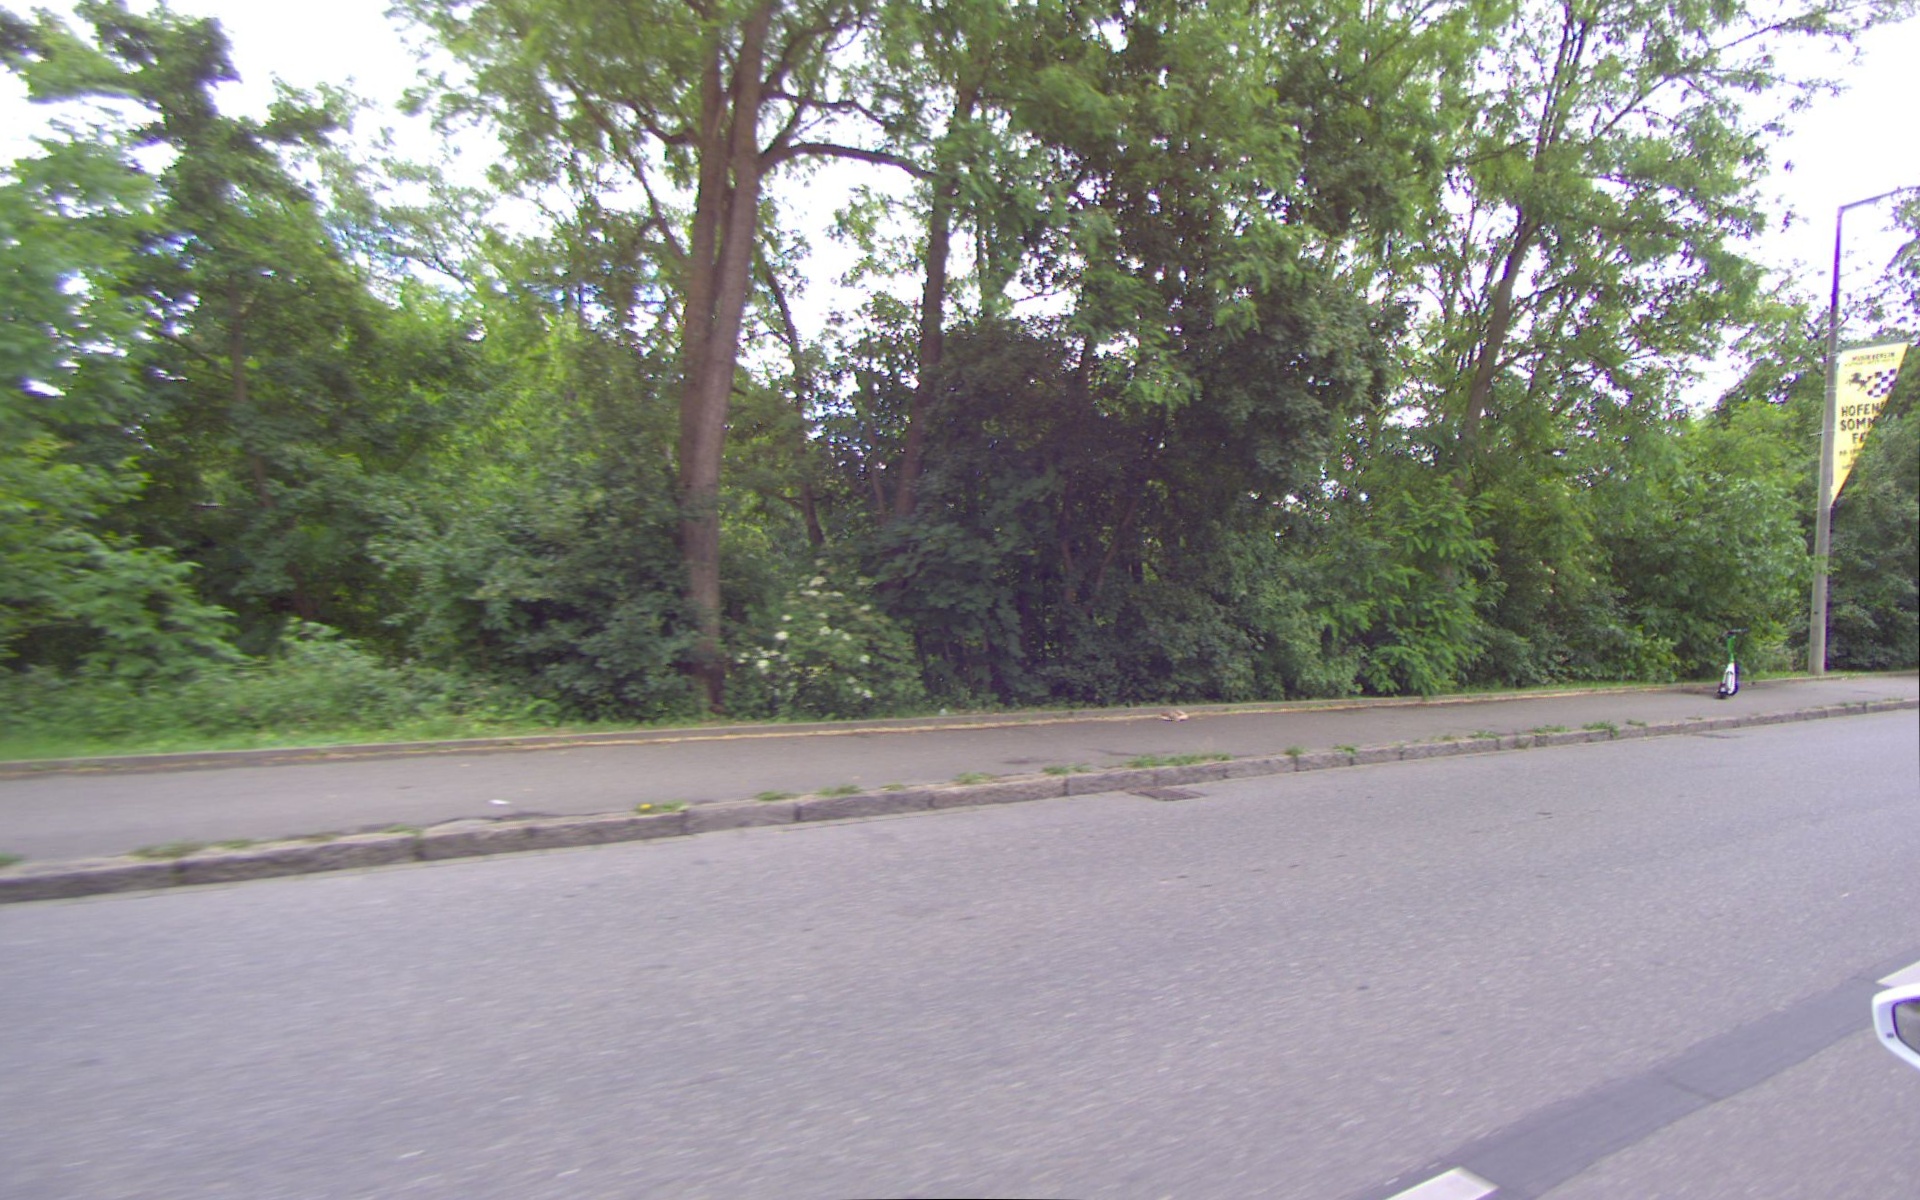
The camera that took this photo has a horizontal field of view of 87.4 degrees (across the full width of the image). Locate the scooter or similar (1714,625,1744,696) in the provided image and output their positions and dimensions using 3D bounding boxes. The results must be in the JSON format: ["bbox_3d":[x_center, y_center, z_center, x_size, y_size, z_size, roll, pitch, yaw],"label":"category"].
[{"bbox_3d":[13.927,1.078,18.206,0.360,1.200,1.292,3,2,37],"label":"scooter or similar"}]
